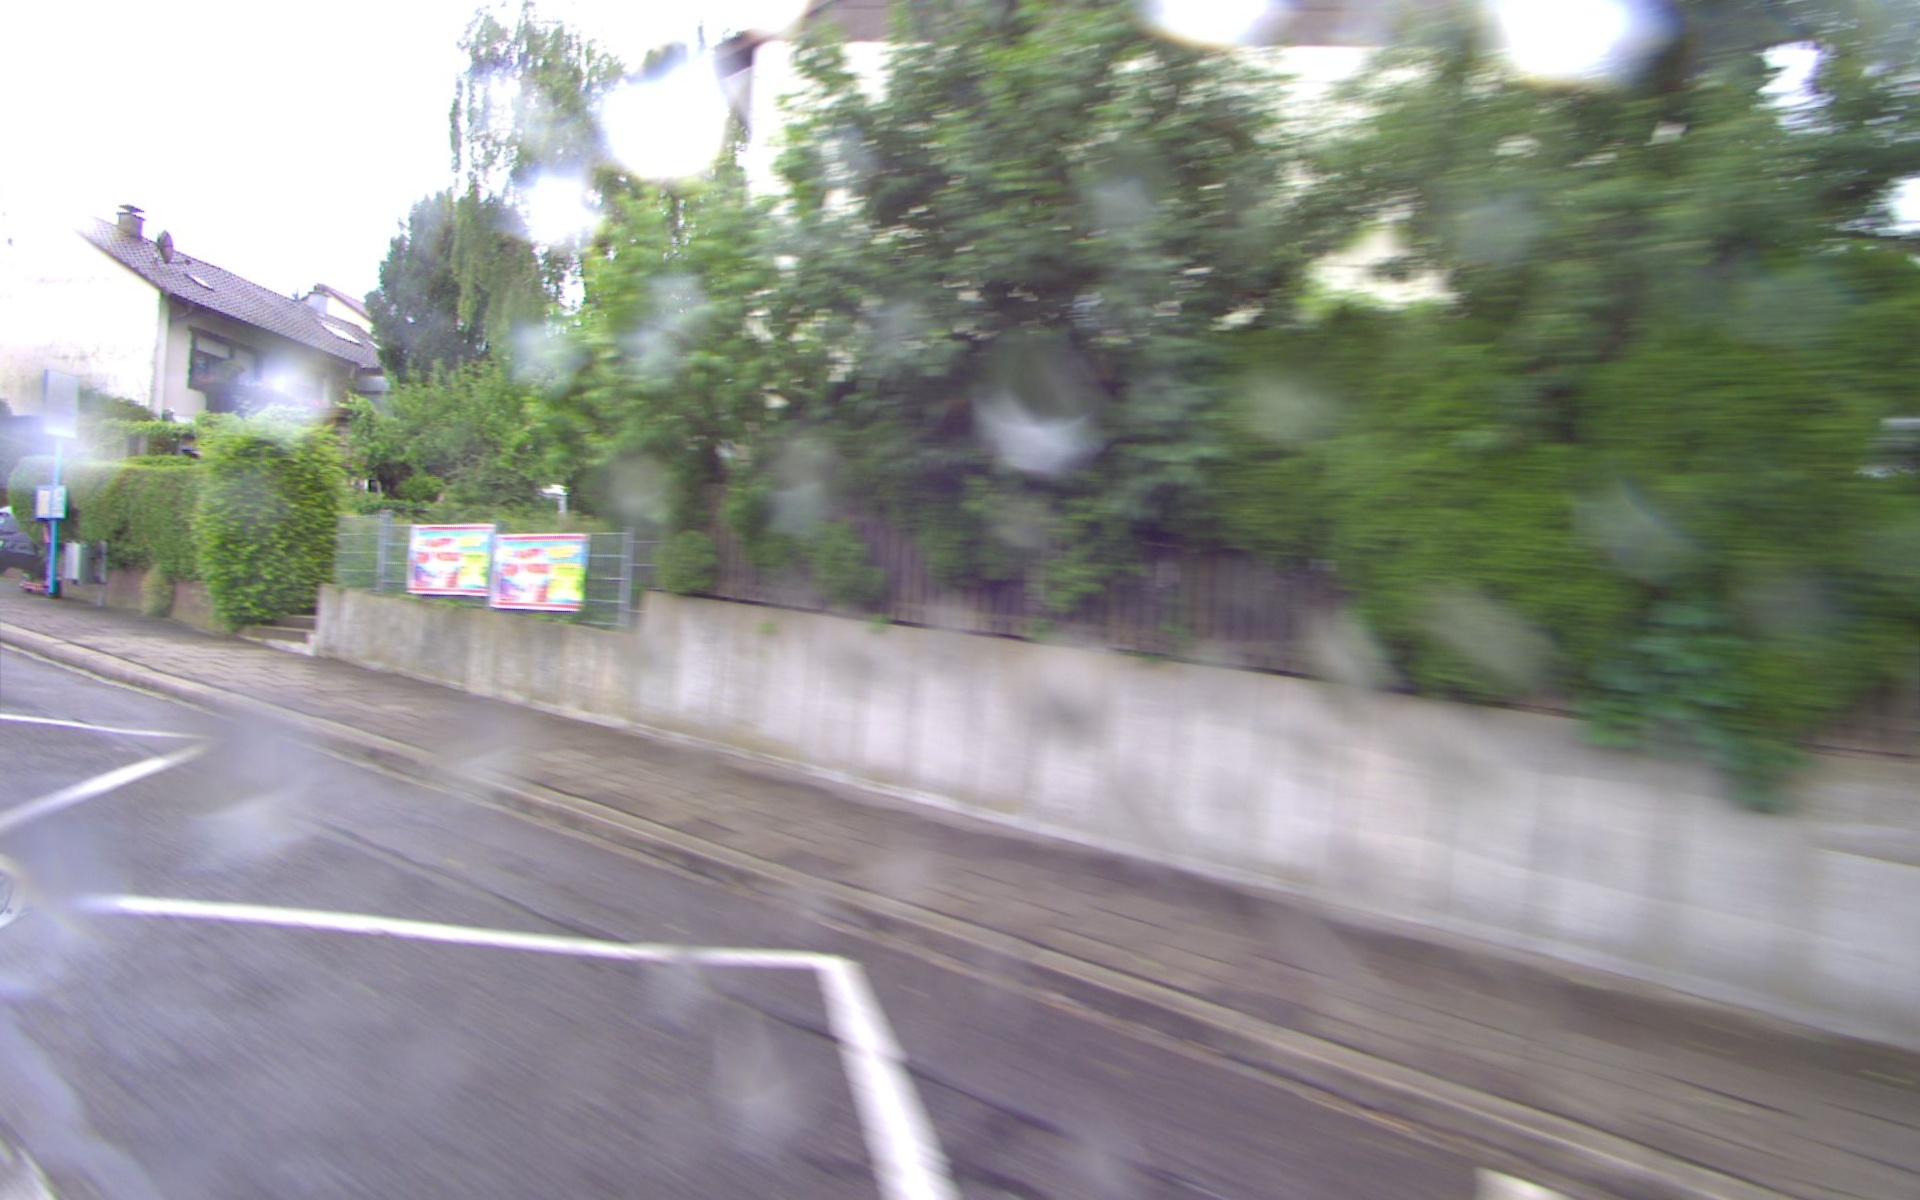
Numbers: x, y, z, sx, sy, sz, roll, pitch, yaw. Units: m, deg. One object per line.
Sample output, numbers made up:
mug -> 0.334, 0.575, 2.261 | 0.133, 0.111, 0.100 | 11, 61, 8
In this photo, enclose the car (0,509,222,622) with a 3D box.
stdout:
car -> -16.728, -0.619, 19.378 | 1.738, 1.308, 3.726 | 5, -10, 11
